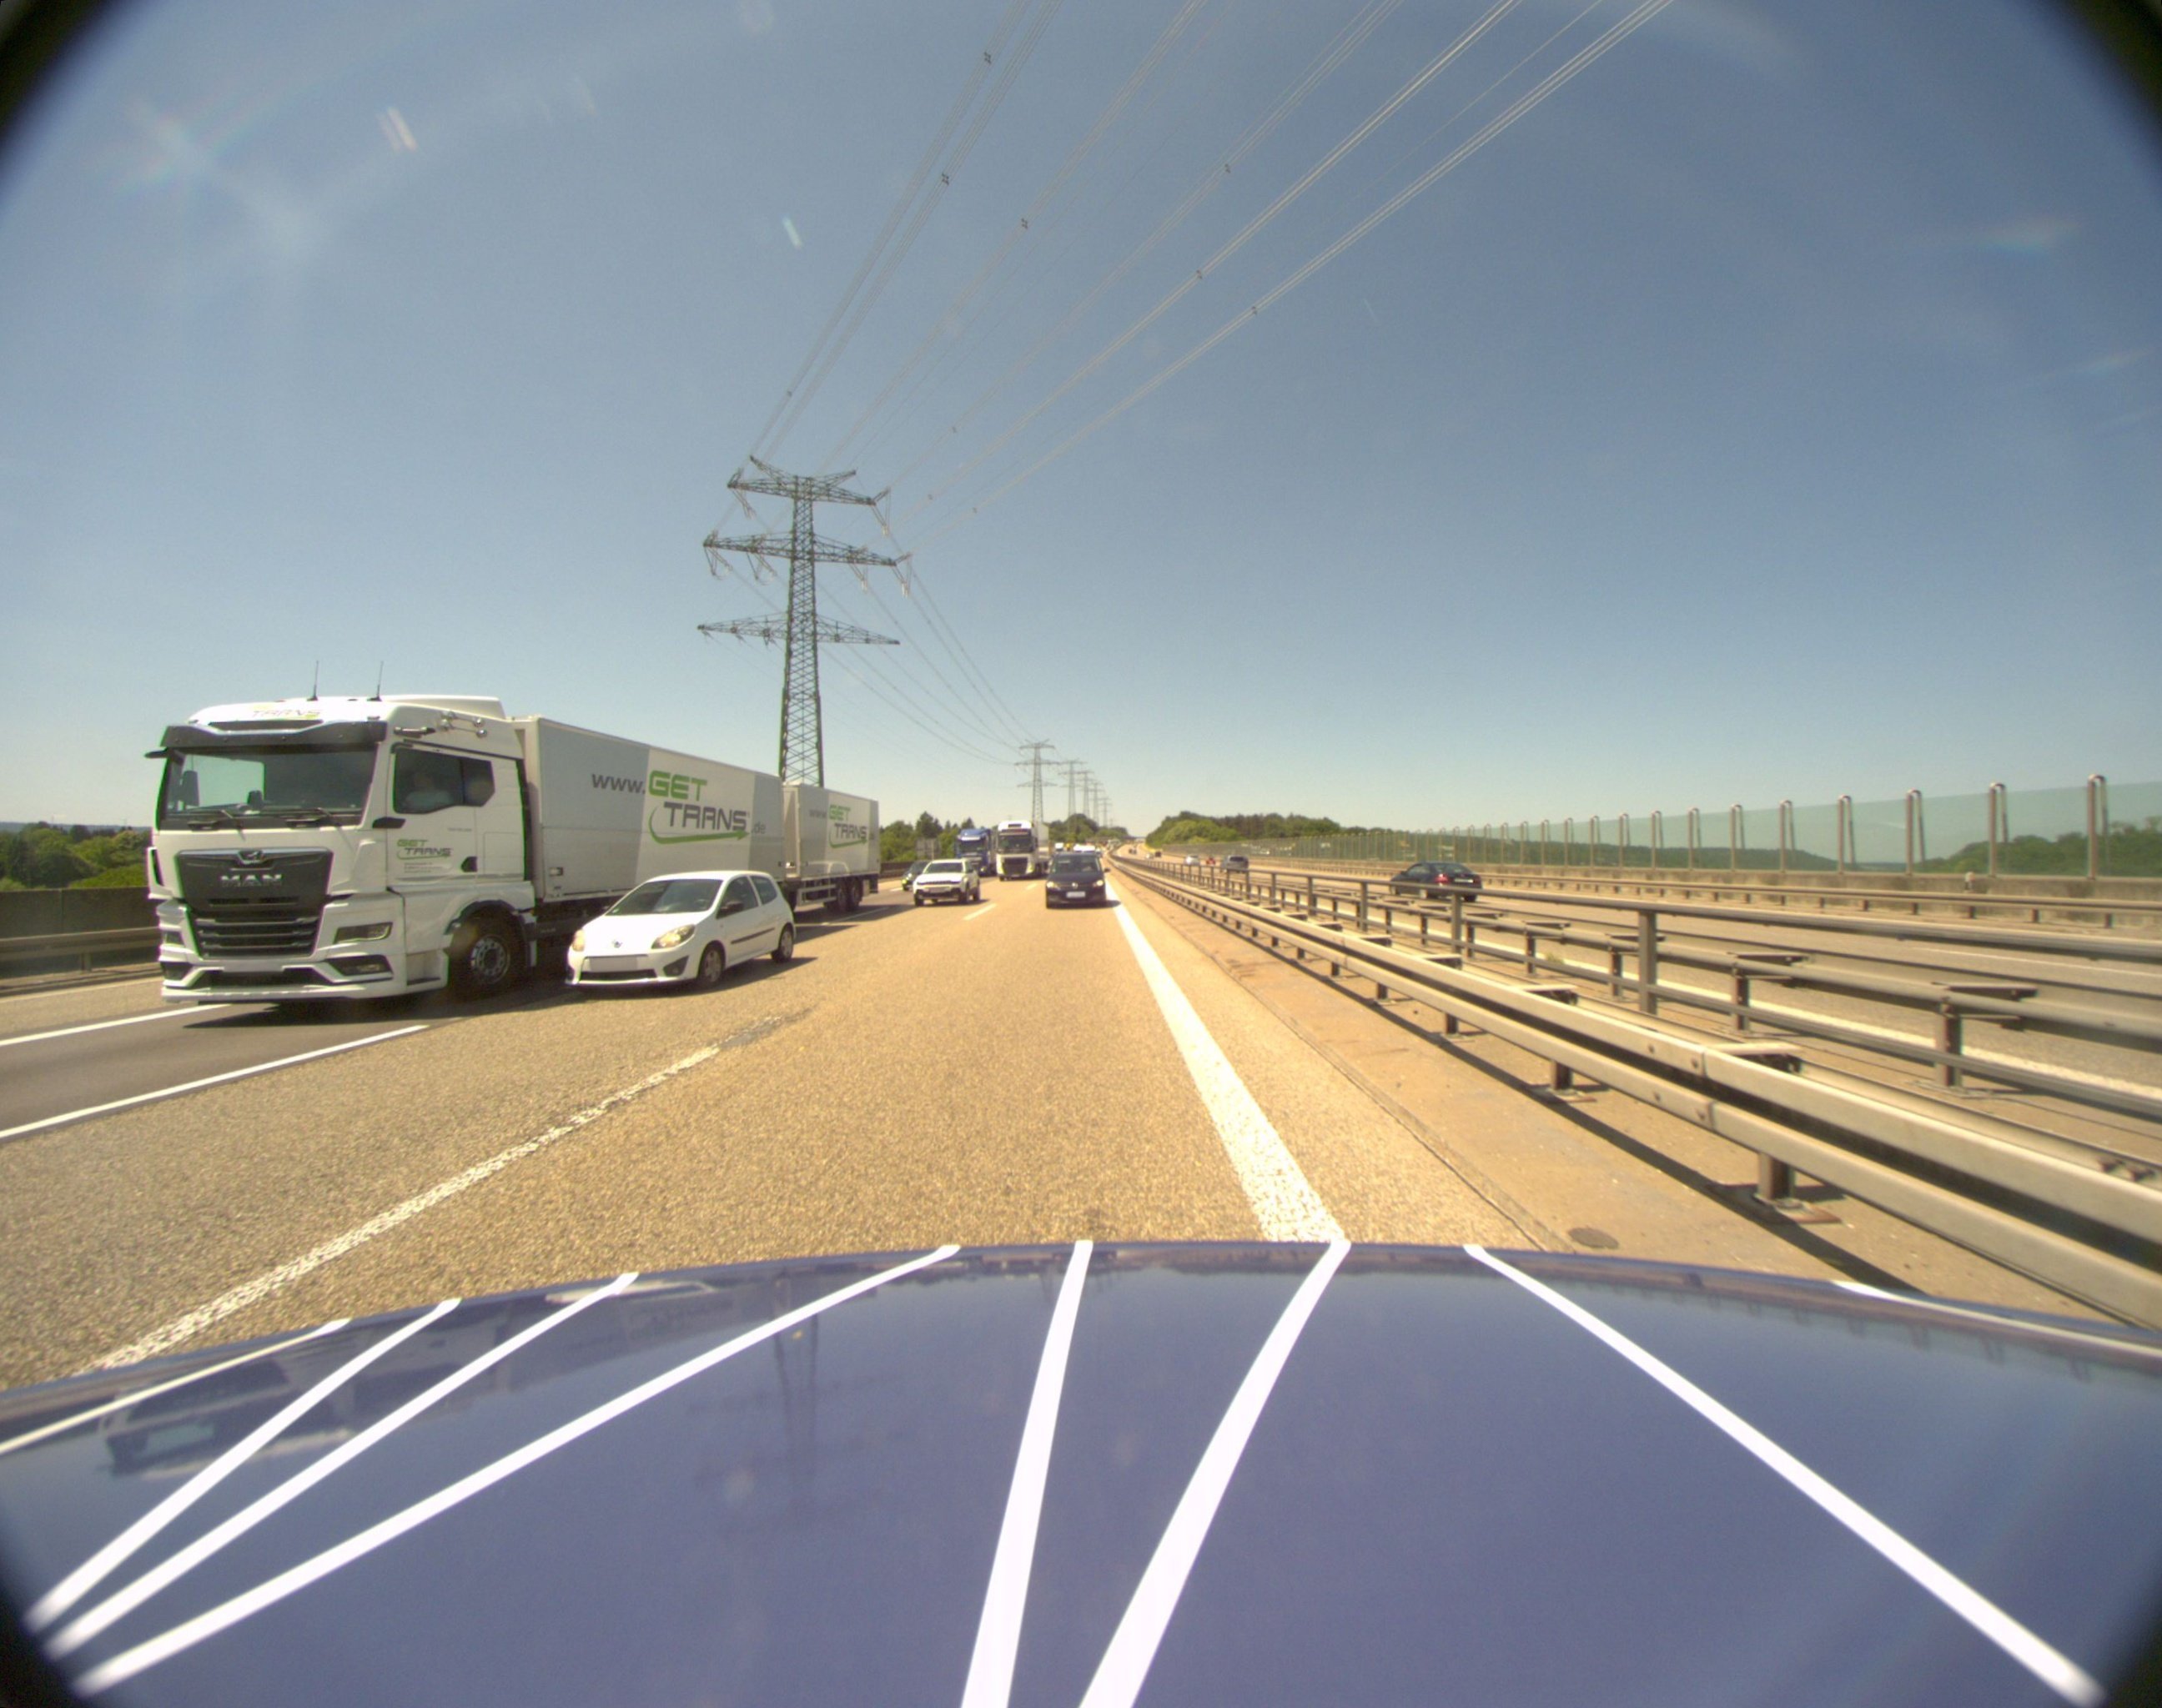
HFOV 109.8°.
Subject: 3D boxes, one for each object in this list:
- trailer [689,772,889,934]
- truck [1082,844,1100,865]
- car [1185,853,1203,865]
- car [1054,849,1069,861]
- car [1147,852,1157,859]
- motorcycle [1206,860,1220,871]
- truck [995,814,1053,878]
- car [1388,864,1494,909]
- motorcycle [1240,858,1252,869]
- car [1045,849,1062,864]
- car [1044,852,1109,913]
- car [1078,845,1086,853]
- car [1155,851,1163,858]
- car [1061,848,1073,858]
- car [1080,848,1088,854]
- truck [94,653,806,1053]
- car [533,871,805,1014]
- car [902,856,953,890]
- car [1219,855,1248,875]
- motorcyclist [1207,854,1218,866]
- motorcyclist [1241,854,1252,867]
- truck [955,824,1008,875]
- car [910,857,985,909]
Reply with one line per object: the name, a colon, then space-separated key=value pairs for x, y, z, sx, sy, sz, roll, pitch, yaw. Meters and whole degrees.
trailer: x=-8.238 y=-0.039 z=22.790 sx=2.752 sy=3.918 sz=7.773 roll=-2 pitch=0 yaw=1
truck: x=1.459 y=-0.001 z=106.274 sx=2.309 sy=2.789 sz=5.109 roll=-2 pitch=1 yaw=1
car: x=14.505 y=0.624 z=97.478 sx=1.735 sy=1.481 sz=4.124 roll=-2 pitch=1 yaw=1
car: x=-2.716 y=0.089 z=105.021 sx=1.821 sy=1.569 sz=3.999 roll=-2 pitch=1 yaw=0
car: x=16.927 y=0.336 z=181.479 sx=1.820 sy=1.645 sz=3.999 roll=-2 pitch=1 yaw=1
motorcycle: x=19.126 y=1.632 z=110.165 sx=1.490 sy=1.468 sz=3.382 roll=-2 pitch=1 yaw=-1
truck: x=-3.942 y=-0.499 z=56.193 sx=2.717 sy=4.015 sz=14.256 roll=-2 pitch=0 yaw=1
car: x=12.706 y=1.099 z=27.118 sx=1.765 sy=1.312 sz=4.270 roll=1 pitch=1 yaw=0
motorcycle: x=17.889 y=1.005 z=82.399 sx=0.792 sy=1.065 sz=2.650 roll=0 pitch=1 yaw=0
car: x=-3.189 y=0.291 z=89.305 sx=1.821 sy=1.569 sz=3.999 roll=-2 pitch=1 yaw=0
car: x=-0.075 y=0.794 z=23.150 sx=1.748 sy=1.569 sz=4.000 roll=-2 pitch=1 yaw=1
car: x=0.268 y=-1.474 z=214.524 sx=1.998 sy=2.002 sz=3.999 roll=-2 pitch=1 yaw=0
car: x=21.991 y=0.059 z=214.133 sx=1.820 sy=1.824 sz=3.999 roll=-2 pitch=1 yaw=1
car: x=-2.371 y=-0.176 z=126.635 sx=1.821 sy=1.569 sz=3.999 roll=-2 pitch=1 yaw=0
car: x=0.760 y=-0.814 z=192.038 sx=1.821 sy=1.569 sz=3.999 roll=-2 pitch=1 yaw=0
truck: x=-8.362 y=-0.016 z=13.262 sx=2.695 sy=3.907 sz=11.297 roll=-2 pitch=0 yaw=1
car: x=-5.365 y=1.043 z=10.533 sx=1.659 sy=1.501 sz=3.825 roll=-1 pitch=0 yaw=0
car: x=-8.022 y=0.970 z=40.072 sx=1.821 sy=1.569 sz=3.999 roll=-2 pitch=1 yaw=0
car: x=13.372 y=0.945 z=66.778 sx=1.786 sy=1.692 sz=4.154 roll=0 pitch=1 yaw=0
motorcyclist: x=19.100 y=0.873 z=110.229 sx=1.379 sy=1.675 sz=1.133 roll=-2 pitch=1 yaw=-1
motorcyclist: x=17.868 y=0.703 z=82.079 sx=0.921 sy=1.276 sz=1.286 roll=-2 pitch=1 yaw=0
truck: x=-8.287 y=-0.424 z=64.913 sx=2.840 sy=3.858 sz=11.272 roll=-2 pitch=1 yaw=0
car: x=-4.563 y=0.948 z=26.454 sx=1.776 sy=1.521 sz=3.851 roll=-2 pitch=1 yaw=1
